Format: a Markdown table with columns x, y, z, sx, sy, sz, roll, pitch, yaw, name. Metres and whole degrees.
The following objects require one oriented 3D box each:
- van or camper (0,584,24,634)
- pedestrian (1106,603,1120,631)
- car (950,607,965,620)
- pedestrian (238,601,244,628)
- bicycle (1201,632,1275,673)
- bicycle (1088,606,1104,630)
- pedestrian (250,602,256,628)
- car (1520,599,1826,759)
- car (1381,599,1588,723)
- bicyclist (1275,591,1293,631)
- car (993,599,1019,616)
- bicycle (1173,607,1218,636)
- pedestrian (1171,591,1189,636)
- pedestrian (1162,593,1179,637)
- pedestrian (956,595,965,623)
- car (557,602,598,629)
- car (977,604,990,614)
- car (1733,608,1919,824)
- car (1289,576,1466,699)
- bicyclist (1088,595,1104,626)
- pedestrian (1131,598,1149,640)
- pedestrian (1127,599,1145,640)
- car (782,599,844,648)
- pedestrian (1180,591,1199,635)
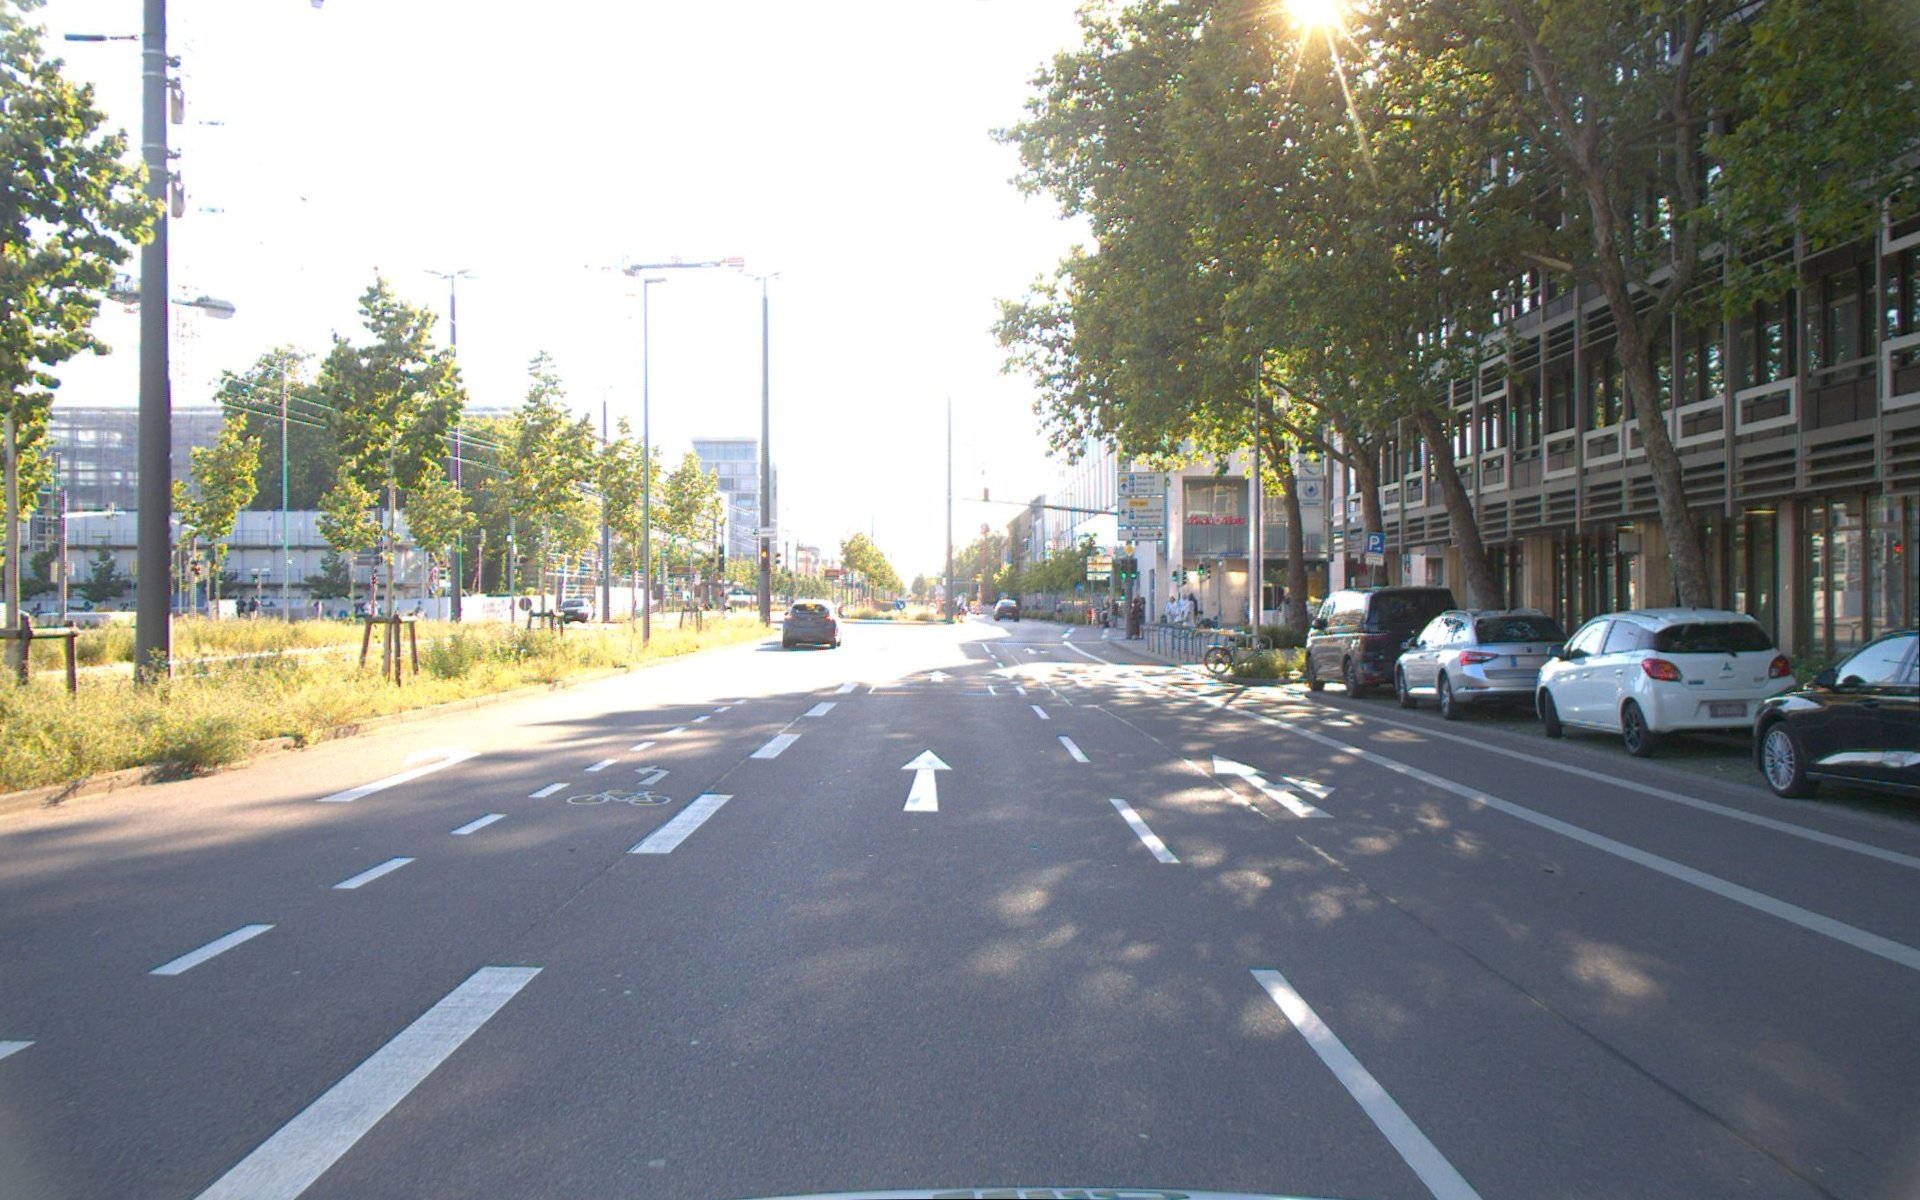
| x | y | z | sx | sy | sz | roll | pitch | yaw | name |
| --- | --- | --- | --- | --- | --- | --- | --- | --- | --- |
| -50.140 | 0.432 | 82.577 | 5.544 | 2.456 | 2.155 | 0 | 0 | 0 | van or camper |
| 9.744 | 1.100 | 105.281 | 0.800 | 1.765 | 0.790 | 0 | 0 | 3 | pedestrian |
| -0.303 | 1.569 | 199.580 | 1.724 | 1.511 | 3.848 | 0 | 0 | -3 | car |
| -40.074 | 0.813 | 92.136 | 0.269 | 1.490 | 0.278 | 0 | 0 | -16 | pedestrian |
| 6.443 | 1.213 | 38.432 | 1.656 | 0.882 | 0.573 | -2 | 0 | 7 | bicycle |
| 7.137 | 0.962 | 86.827 | 0.783 | 1.225 | 2.265 | 0 | 0 | 3 | bicycle |
| -39.489 | 0.836 | 92.356 | 0.270 | 1.490 | 0.313 | 0 | 0 | -29 | pedestrian |
| 7.710 | 0.781 | 18.290 | 1.647 | 1.504 | 3.873 | -2 | 0 | 0 | car |
| 7.548 | 0.804 | 24.303 | 1.646 | 1.541 | 5.061 | -2 | 0 | 3 | car |
| 12.536 | 0.435 | 64.033 | 0.566 | 1.549 | 0.749 | 0 | 0 | 0 | bicyclist |
| 3.922 | 0.635 | 141.265 | 1.901 | 1.453 | 3.923 | 0 | 0 | -3 | car |
| 9.529 | 0.857 | 66.935 | 1.766 | 1.105 | 0.479 | -1 | 0 | 0 | bicycle |
| 10.422 | 0.638 | 78.388 | 0.750 | 2.096 | 0.797 | -2 | 0 | 5 | pedestrian |
| 10.093 | 0.706 | 79.324 | 0.750 | 2.096 | 0.797 | -2 | 0 | 5 | pedestrian |
| 0.019 | 0.577 | 104.265 | 0.483 | 1.774 | 0.446 | 0 | 0 | -11 | pedestrian |
| -26.665 | 1.083 | 115.345 | 1.953 | 1.807 | 3.999 | 0 | 0 | -1 | car |
| 3.336 | 1.286 | 233.775 | 1.669 | 1.453 | 3.923 | 0 | 0 | -3 | car |
| 7.577 | 0.826 | 12.212 | 1.671 | 1.443 | 4.276 | -2 | 0 | 0 | car |
| 7.558 | 0.625 | 30.500 | 1.792 | 2.005 | 5.321 | -2 | 0 | -1 | car |
| 7.153 | 0.536 | 87.032 | 0.783 | 1.630 | 0.785 | 0 | 0 | 3 | bicyclist |
| 7.415 | 0.777 | 67.997 | 0.621 | 1.732 | 0.570 | -2 | 0 | 0 | pedestrian |
| 7.180 | 0.801 | 67.387 | 0.621 | 1.636 | 0.570 | -2 | 0 | 0 | pedestrian |
| -4.605 | 0.707 | 52.164 | 1.741 | 1.453 | 3.998 | 1 | 0 | -3 | car |
| 9.159 | 0.517 | 65.912 | 0.621 | 1.732 | 0.570 | -2 | 0 | 0 | pedestrian |
